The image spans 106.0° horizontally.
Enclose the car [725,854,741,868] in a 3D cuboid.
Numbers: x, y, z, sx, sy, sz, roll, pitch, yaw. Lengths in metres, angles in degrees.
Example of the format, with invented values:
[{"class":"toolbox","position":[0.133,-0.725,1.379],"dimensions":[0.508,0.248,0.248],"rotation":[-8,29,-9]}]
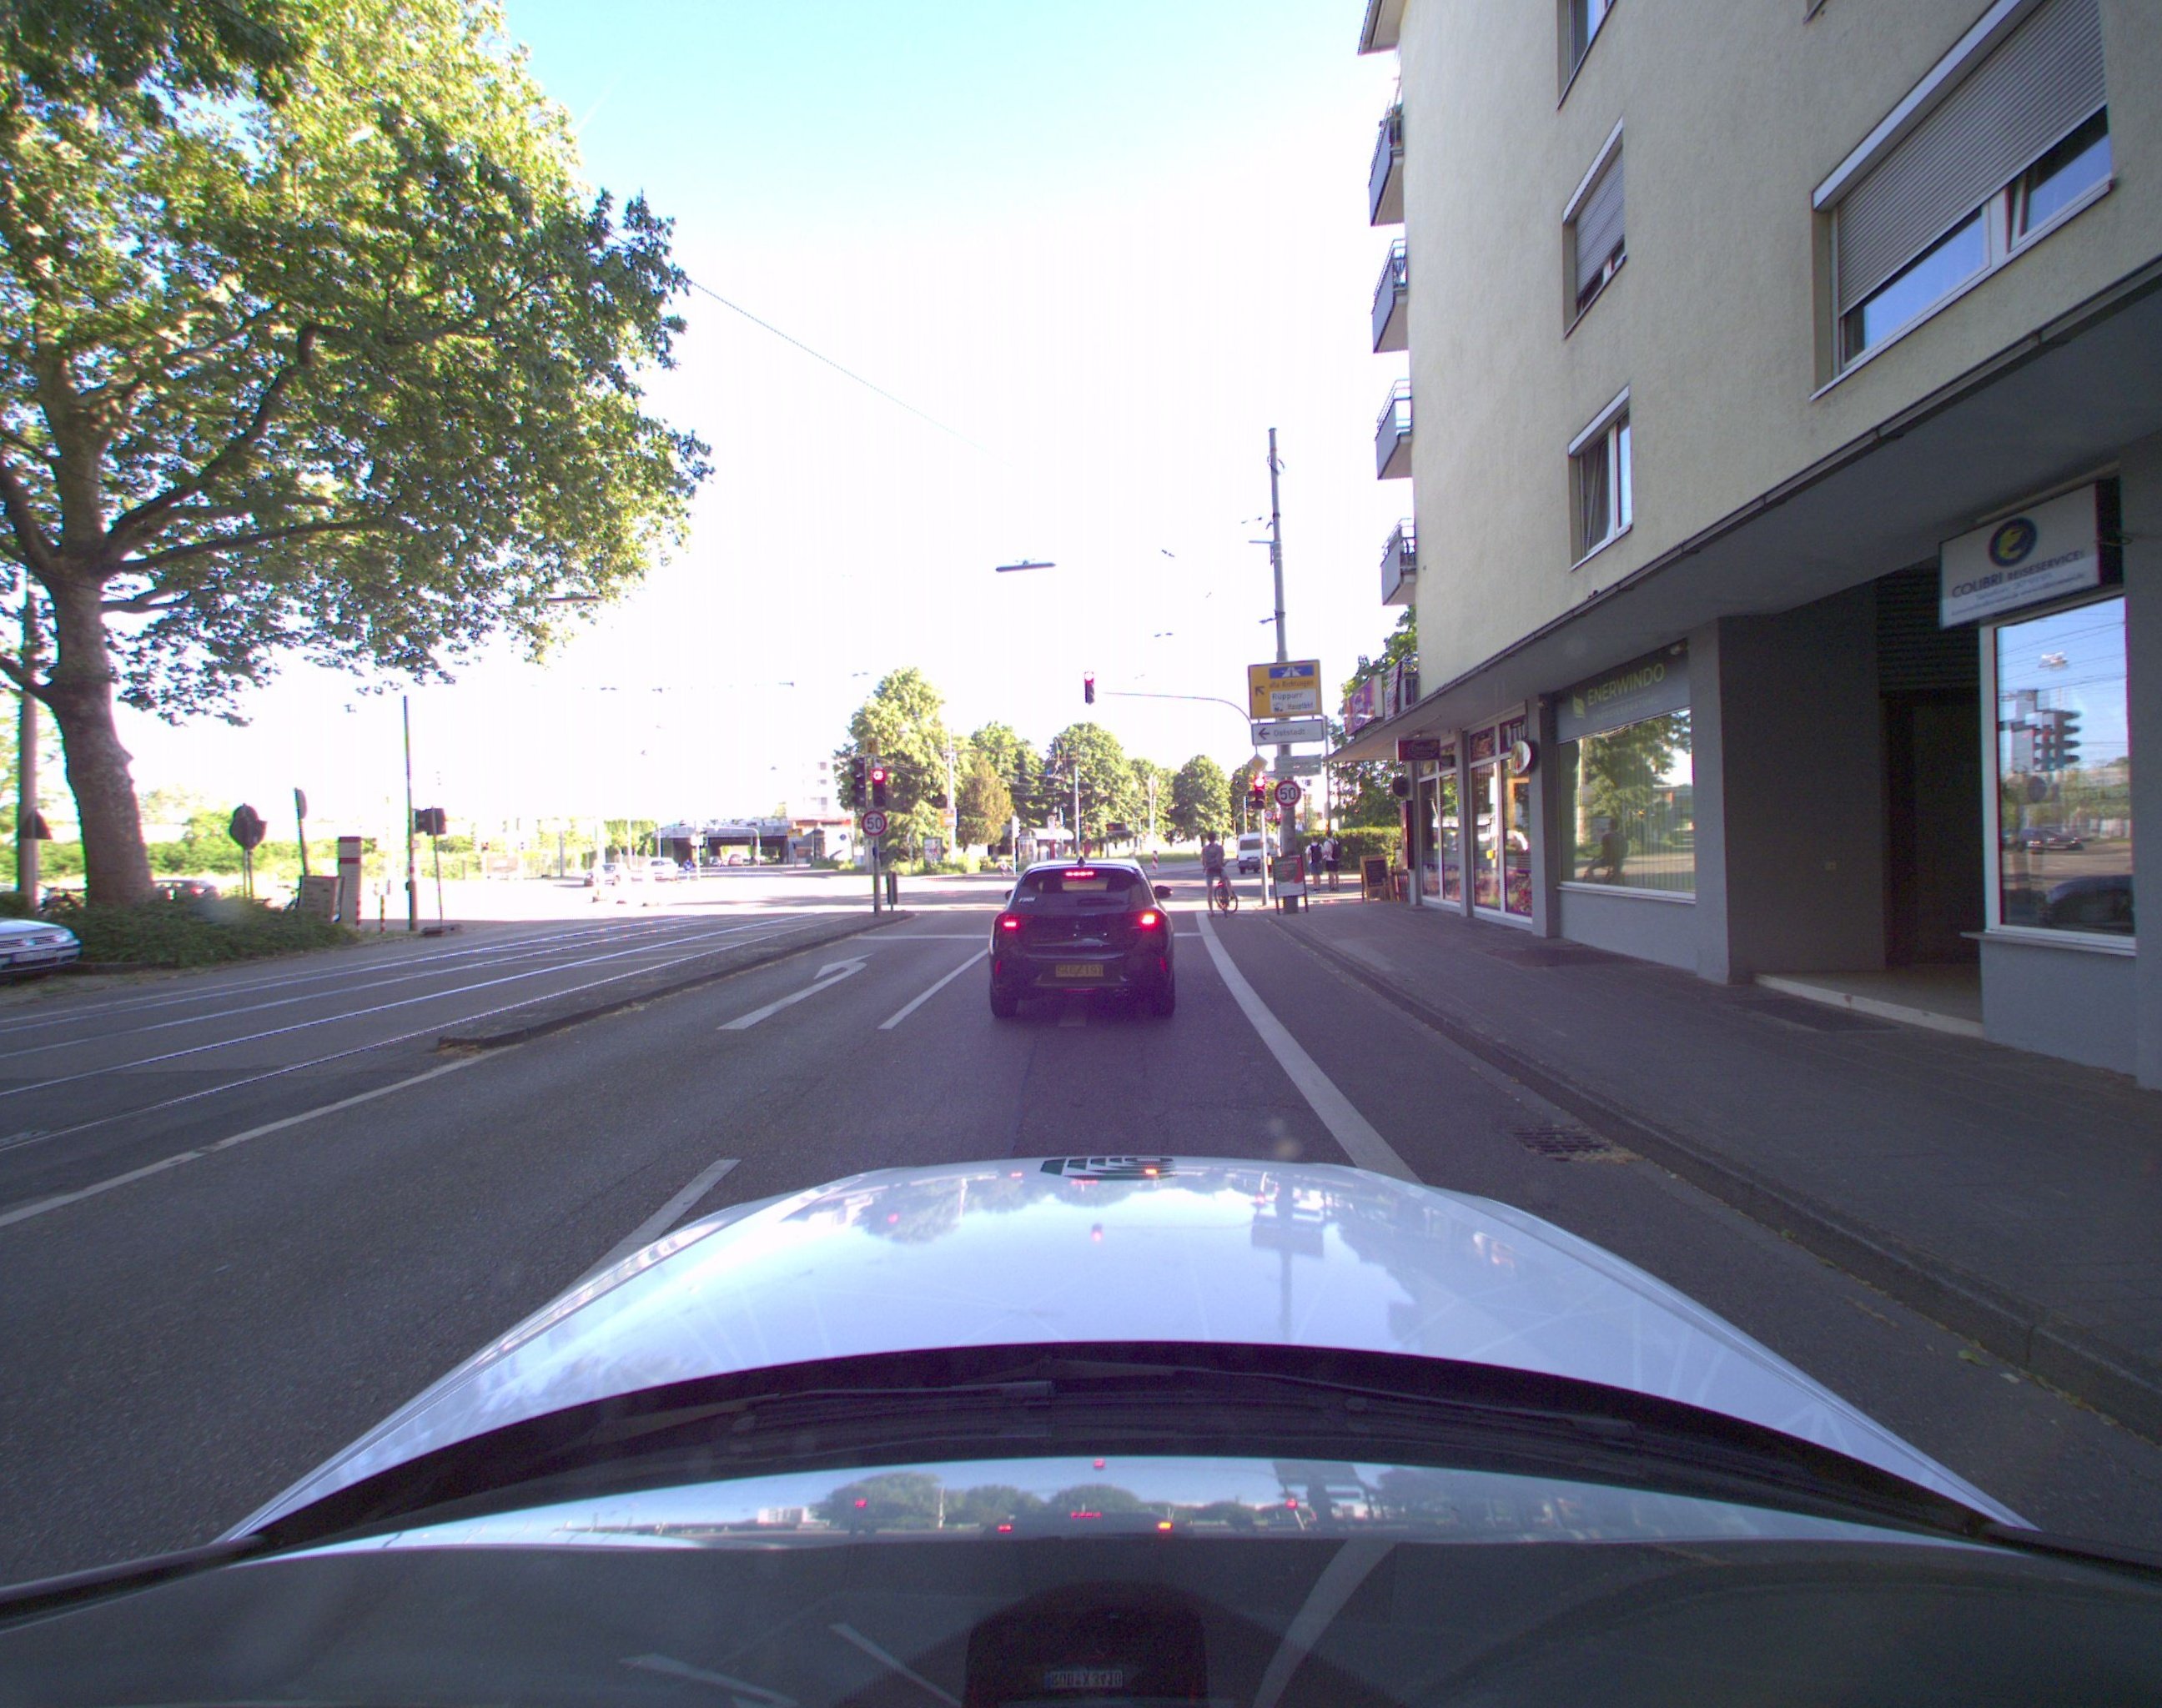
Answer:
[{"class":"car","position":[-48.163,0.944,112.899],"dimensions":[1.916,1.881,4.809],"rotation":[-2,0,-22]}]

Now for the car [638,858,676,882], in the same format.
[{"class":"car","position":[-29.229,1.071,56.239],"dimensions":[1.892,1.585,3.809],"rotation":[0,-1,-21]}]

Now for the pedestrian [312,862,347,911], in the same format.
[{"class":"pedestrian","position":[-25.952,1.095,28.144],"dimensions":[0.778,1.661,0.945],"rotation":[0,-1,-36]}]

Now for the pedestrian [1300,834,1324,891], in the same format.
[{"class":"pedestrian","position":[7.249,0.274,25.528],"dimensions":[0.627,1.763,0.585],"rotation":[-1,-1,22]}]

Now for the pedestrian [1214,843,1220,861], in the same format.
[{"class":"pedestrian","position":[14.247,-0.207,85.307],"dimensions":[0.599,1.872,0.521],"rotation":[-1,-1,15]}]

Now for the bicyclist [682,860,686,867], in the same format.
[{"class":"bicyclist","position":[-71.442,1.769,146.539],"dimensions":[0.528,1.222,0.525],"rotation":[-1,0,-24]}]

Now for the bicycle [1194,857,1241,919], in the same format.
[{"class":"bicycle","position":[3.031,0.715,17.958],"dimensions":[0.747,1.235,2.024],"rotation":[-2,0,16]}]

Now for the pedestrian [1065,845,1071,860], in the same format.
[{"class":"pedestrian","position":[-1.692,-0.205,107.750],"dimensions":[0.736,1.872,0.661],"rotation":[0,-1,-4]}]

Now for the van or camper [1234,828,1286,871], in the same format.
[{"class":"van or camper","position":[10.211,-0.224,46.242],"dimensions":[2.011,2.310,4.565],"rotation":[-1,-1,23]}]

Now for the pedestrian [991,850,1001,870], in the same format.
[{"class":"pedestrian","position":[-6.485,0.435,62.069],"dimensions":[0.567,1.472,0.666],"rotation":[-2,0,4]}]

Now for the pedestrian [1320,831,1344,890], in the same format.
[{"class":"pedestrian","position":[7.836,0.197,25.385],"dimensions":[0.627,1.820,0.749],"rotation":[-1,-1,22]}]

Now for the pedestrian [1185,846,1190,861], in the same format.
[{"class":"pedestrian","position":[13.039,-0.084,99.485],"dimensions":[0.600,1.872,0.521],"rotation":[-1,-1,8]}]

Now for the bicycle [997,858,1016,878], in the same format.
[{"class":"bicycle","position":[-4.241,0.765,46.403],"dimensions":[0.793,1.064,2.186],"rotation":[-2,0,2]}]

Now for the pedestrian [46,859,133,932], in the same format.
[{"class":"pedestrian","position":[-22.987,0.937,18.902],"dimensions":[0.842,1.647,0.931],"rotation":[0,-1,1]}]

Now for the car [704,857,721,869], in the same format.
[{"class":"car","position":[-50.550,1.216,111.635],"dimensions":[1.892,1.585,3.809],"rotation":[0,-1,-21]}]

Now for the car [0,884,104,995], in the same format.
[{"class":"car","position":[-16.626,1.198,11.337],"dimensions":[3.957,1.453,1.670],"rotation":[-1,0,-1]}]

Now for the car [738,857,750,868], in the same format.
[{"class":"car","position":[-54.295,1.406,131.190],"dimensions":[1.761,1.684,3.713],"rotation":[0,-1,-22]}]

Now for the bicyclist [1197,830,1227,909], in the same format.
[{"class":"bicyclist","position":[2.876,0.336,17.855],"dimensions":[0.529,1.692,0.571],"rotation":[-2,0,19]}]

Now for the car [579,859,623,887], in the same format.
[{"class":"car","position":[-30.606,1.154,52.030],"dimensions":[1.806,1.662,4.323],"rotation":[-2,0,-23]}]

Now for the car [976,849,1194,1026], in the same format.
[{"class":"car","position":[0.096,0.702,8.925],"dimensions":[1.833,1.462,3.985],"rotation":[-1,0,2]}]
